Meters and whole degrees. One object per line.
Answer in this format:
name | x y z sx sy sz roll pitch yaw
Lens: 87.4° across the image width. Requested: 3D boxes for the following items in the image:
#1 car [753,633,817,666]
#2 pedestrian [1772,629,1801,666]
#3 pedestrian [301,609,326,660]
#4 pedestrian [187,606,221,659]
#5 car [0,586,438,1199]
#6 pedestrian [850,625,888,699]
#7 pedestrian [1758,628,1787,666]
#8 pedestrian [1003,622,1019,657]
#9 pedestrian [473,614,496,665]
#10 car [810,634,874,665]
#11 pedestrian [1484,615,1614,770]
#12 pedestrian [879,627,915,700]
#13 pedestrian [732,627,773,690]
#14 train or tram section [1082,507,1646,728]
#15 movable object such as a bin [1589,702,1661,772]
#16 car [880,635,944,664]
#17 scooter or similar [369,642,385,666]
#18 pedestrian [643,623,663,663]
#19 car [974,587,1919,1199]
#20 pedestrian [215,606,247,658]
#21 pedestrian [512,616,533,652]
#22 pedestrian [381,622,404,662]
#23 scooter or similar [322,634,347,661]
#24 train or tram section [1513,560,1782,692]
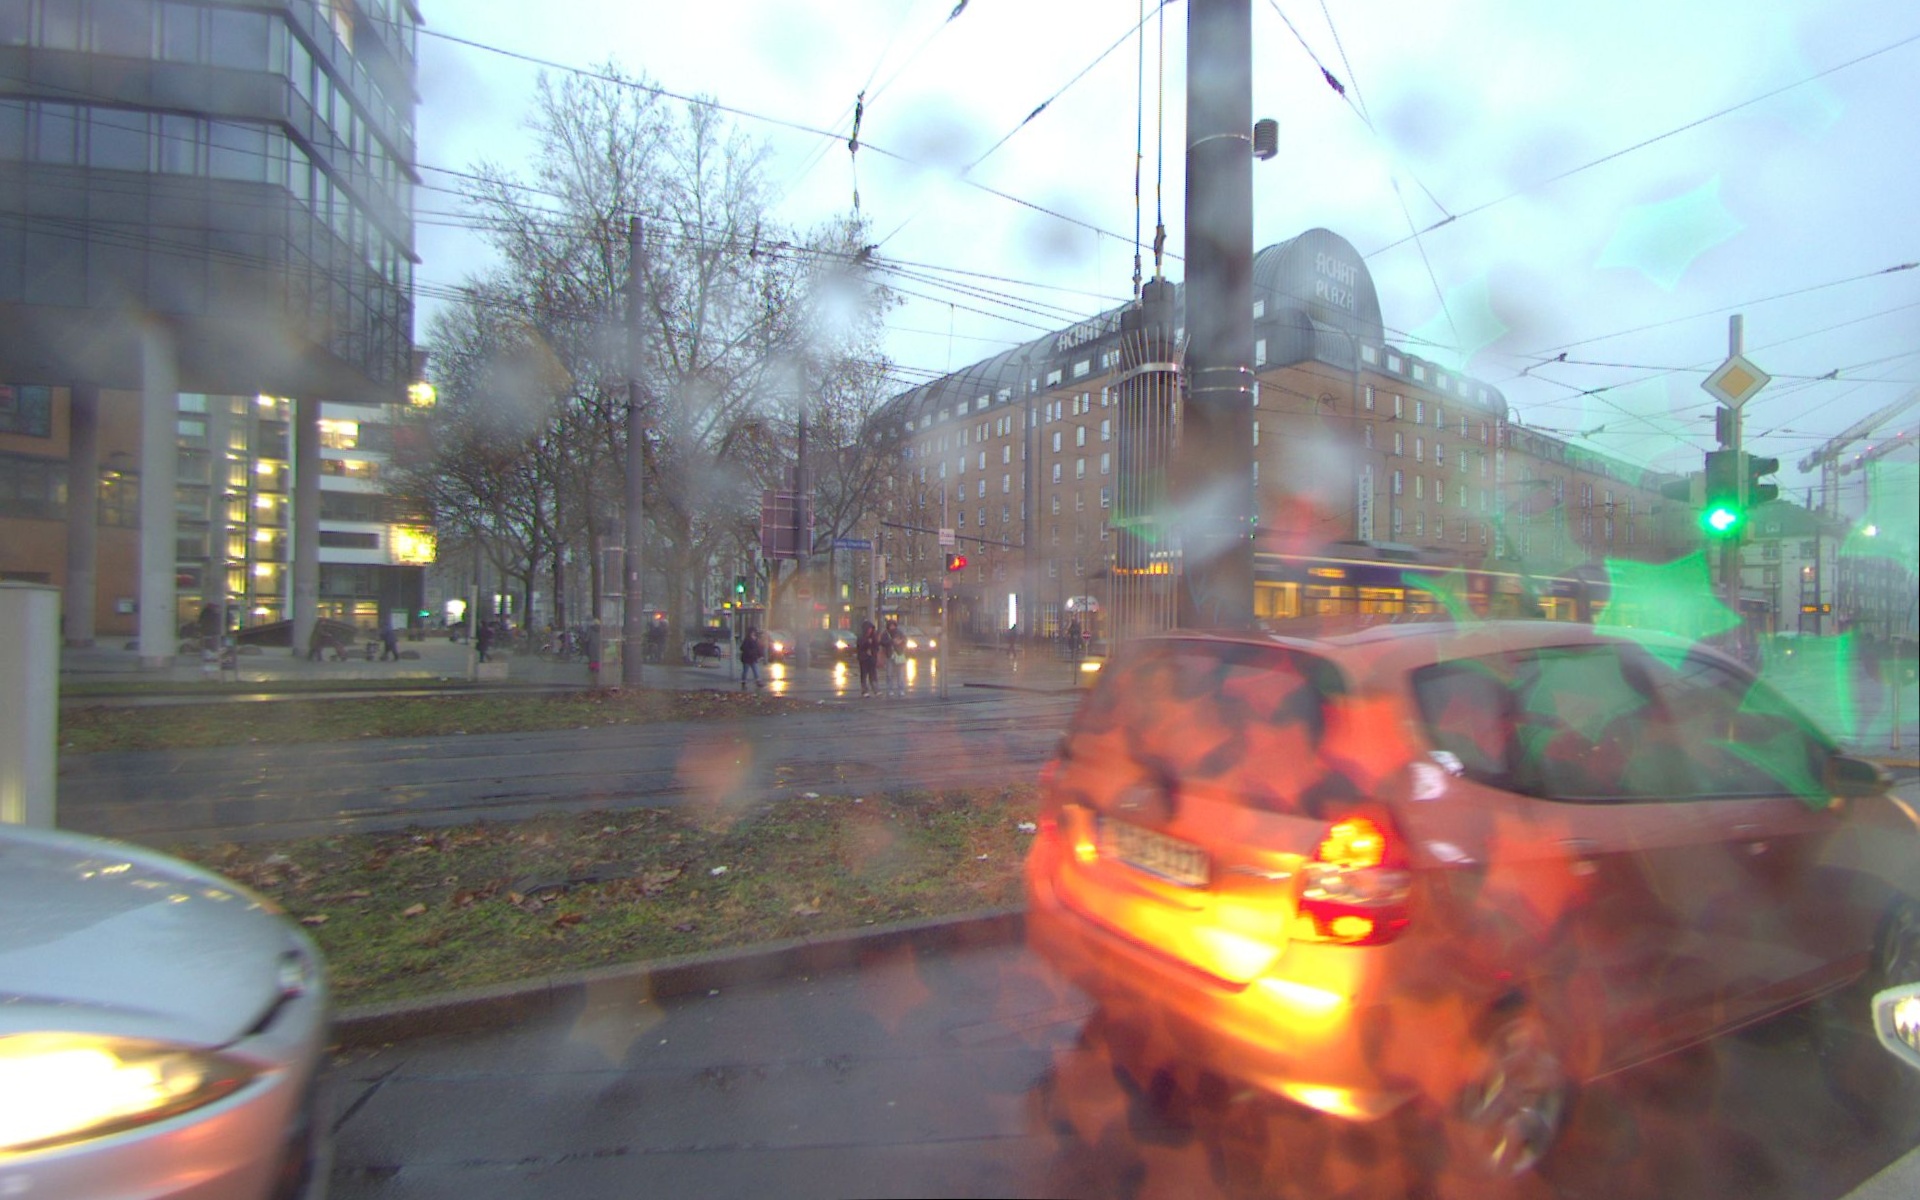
car | -8.369 2.325 47.870 1.974 1.446 3.974 1 -2 -26
pedestrian | 46.340 2.648 56.310 0.820 2.040 0.980 1 -1 -15
pedestrian | -22.990 1.240 35.710 0.628 1.797 0.569 1 -2 -24
pedestrian | -26.876 1.156 35.704 0.561 1.888 0.736 0 -2 6
car | -2.935 0.679 1.312 3.951 1.467 1.698 2 0 -29
pedestrian | -1.924 1.299 21.270 0.638 1.532 0.559 1 -1 -28
pedestrian | 45.241 2.600 55.941 0.820 2.040 0.980 1 -1 -15
pedestrian | 2.681 2.062 52.554 0.622 1.781 0.566 0 -2 33
pedestrian | -17.691 1.459 37.360 0.725 1.888 0.569 1 -2 -24
car | -5.972 2.473 50.517 1.974 1.446 3.974 1 -2 -26
pedestrian | 6.428 0.997 11.023 1.016 1.621 0.716 0 -3 12
pedestrian | -1.358 1.348 21.597 0.606 1.532 0.518 1 -1 -27
pedestrian | -5.115 1.424 24.778 0.666 1.519 0.734 0 -1 39
train or tram section | 11.007 0.580 23.893 19.890 3.662 2.843 2 -2 -38
movable object such as a bin | 7.244 1.487 10.953 0.527 0.708 0.413 0 -3 13
car | -2.555 2.569 52.763 1.974 1.446 3.974 1 -2 -26
scooter or similar | -21.581 2.004 37.164 0.426 0.861 0.550 1 -2 -24
pedestrian | -13.216 1.841 43.256 0.679 1.728 0.526 1 -2 -6
car | 2.070 0.773 3.736 3.713 1.478 1.690 2 -2 -30
pedestrian | -26.737 1.161 36.840 0.561 1.888 0.736 0 -2 5
pedestrian | -21.886 1.700 50.282 0.811 1.783 0.728 2 -2 -33
pedestrian | -21.121 1.561 37.397 0.675 1.478 0.569 1 -2 -24
scooter or similar | -22.398 1.694 35.969 0.657 0.973 0.550 1 -2 -24
train or tram section | 24.706 0.991 35.112 19.057 3.662 2.841 2 -2 -40
